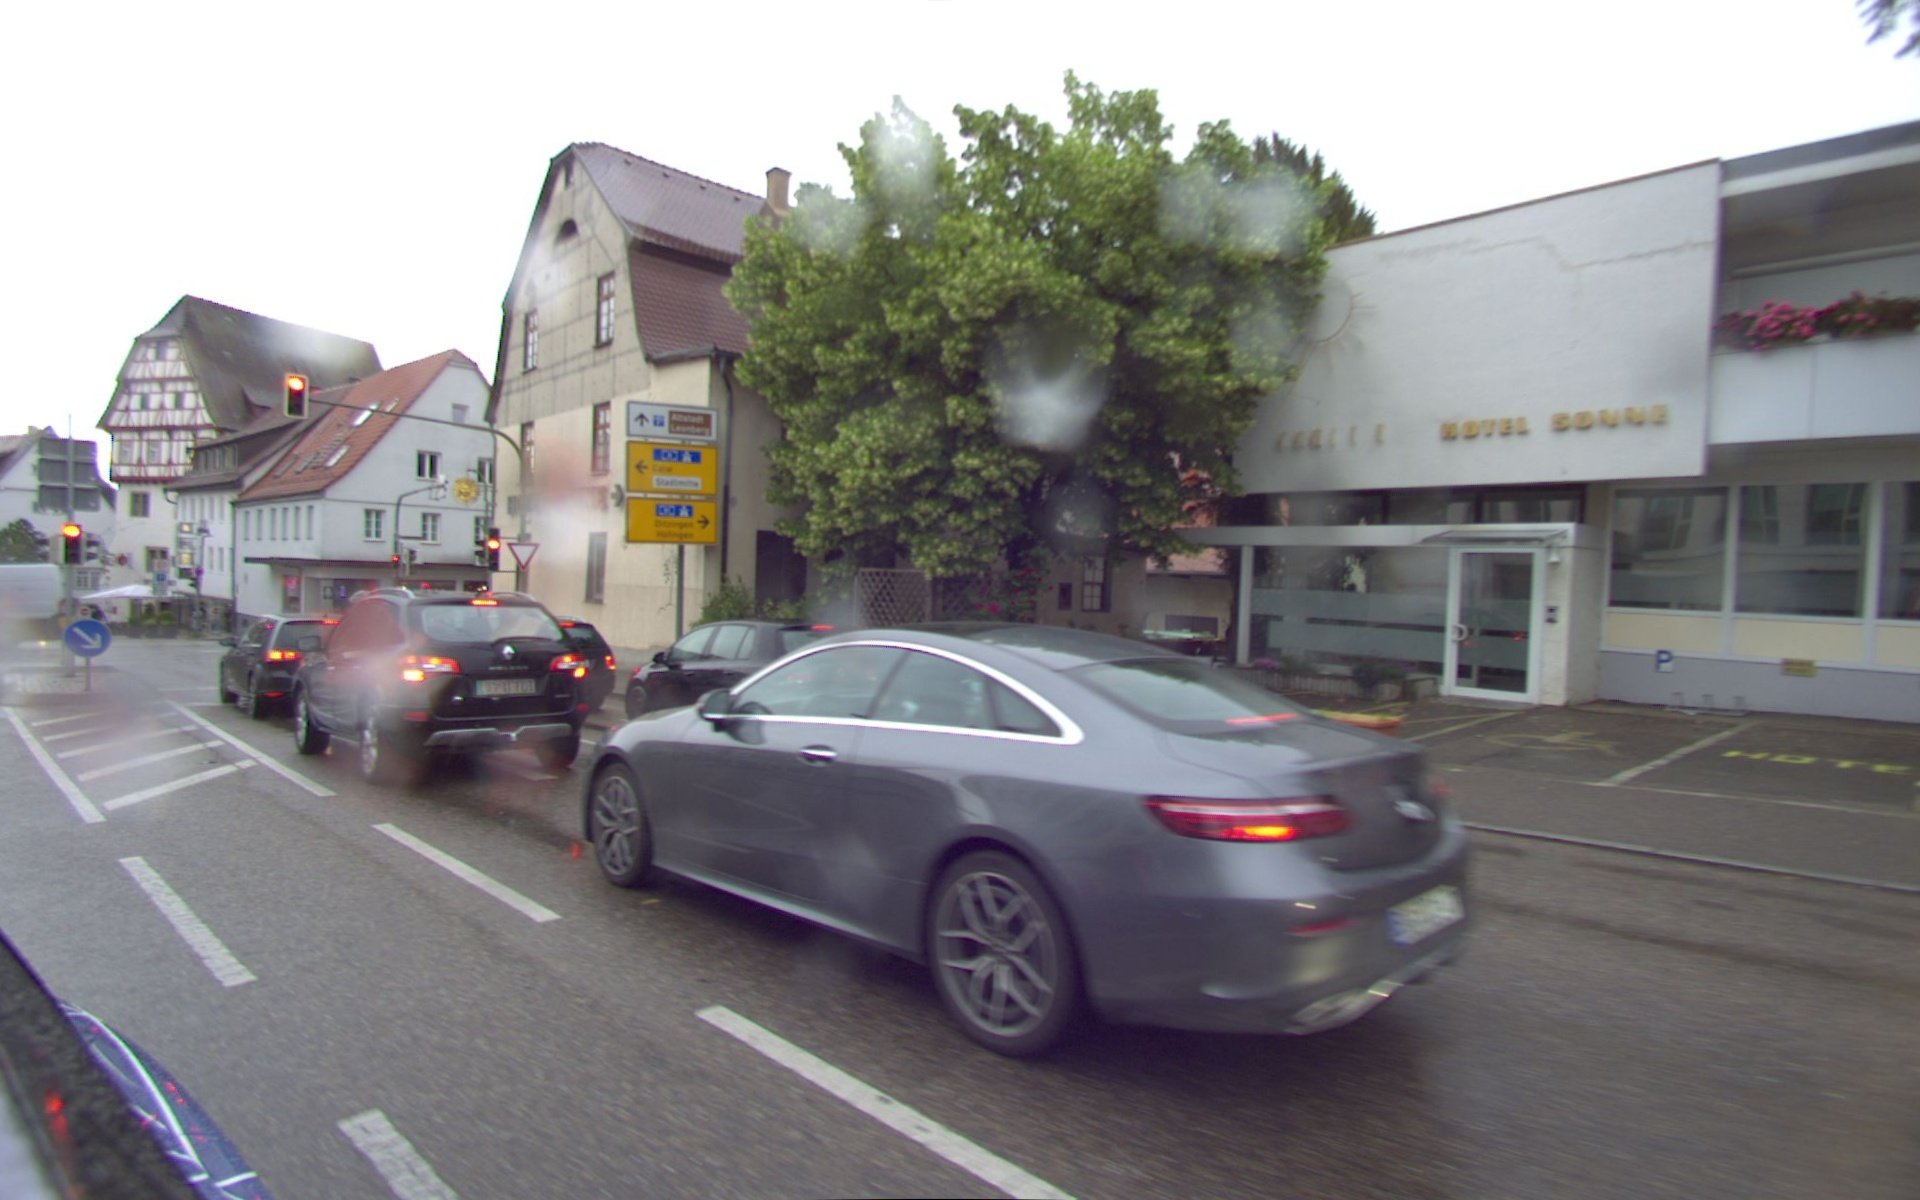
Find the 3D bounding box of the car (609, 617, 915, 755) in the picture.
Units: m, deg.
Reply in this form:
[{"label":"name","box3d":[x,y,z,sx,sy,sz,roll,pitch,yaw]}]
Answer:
[{"label":"car","box3d":[-2.525,0.897,12.216,1.717,1.364,4.063,0,-1,-44]}]

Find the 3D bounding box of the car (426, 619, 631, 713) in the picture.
[{"label":"car","box3d":[-7.071,0.972,16.375,1.826,1.303,4.037,0,-1,-43]}]

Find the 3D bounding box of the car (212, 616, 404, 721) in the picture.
[{"label":"car","box3d":[-9.970,0.936,15.379,1.792,1.374,3.751,0,-1,-44]}]

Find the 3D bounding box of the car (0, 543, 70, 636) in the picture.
[{"label":"car","box3d":[-29.853,-0.305,29.035,6.412,2.709,2.003,0,-1,-41]}]

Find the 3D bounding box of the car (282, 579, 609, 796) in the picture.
[{"label":"car","box3d":[-5.245,0.705,10.021,1.826,1.676,4.224,0,-1,-43]}]

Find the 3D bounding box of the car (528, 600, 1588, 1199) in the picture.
[{"label":"car","box3d":[-0.135,0.758,4.836,1.918,1.451,5.020,0,-1,-44]}]
